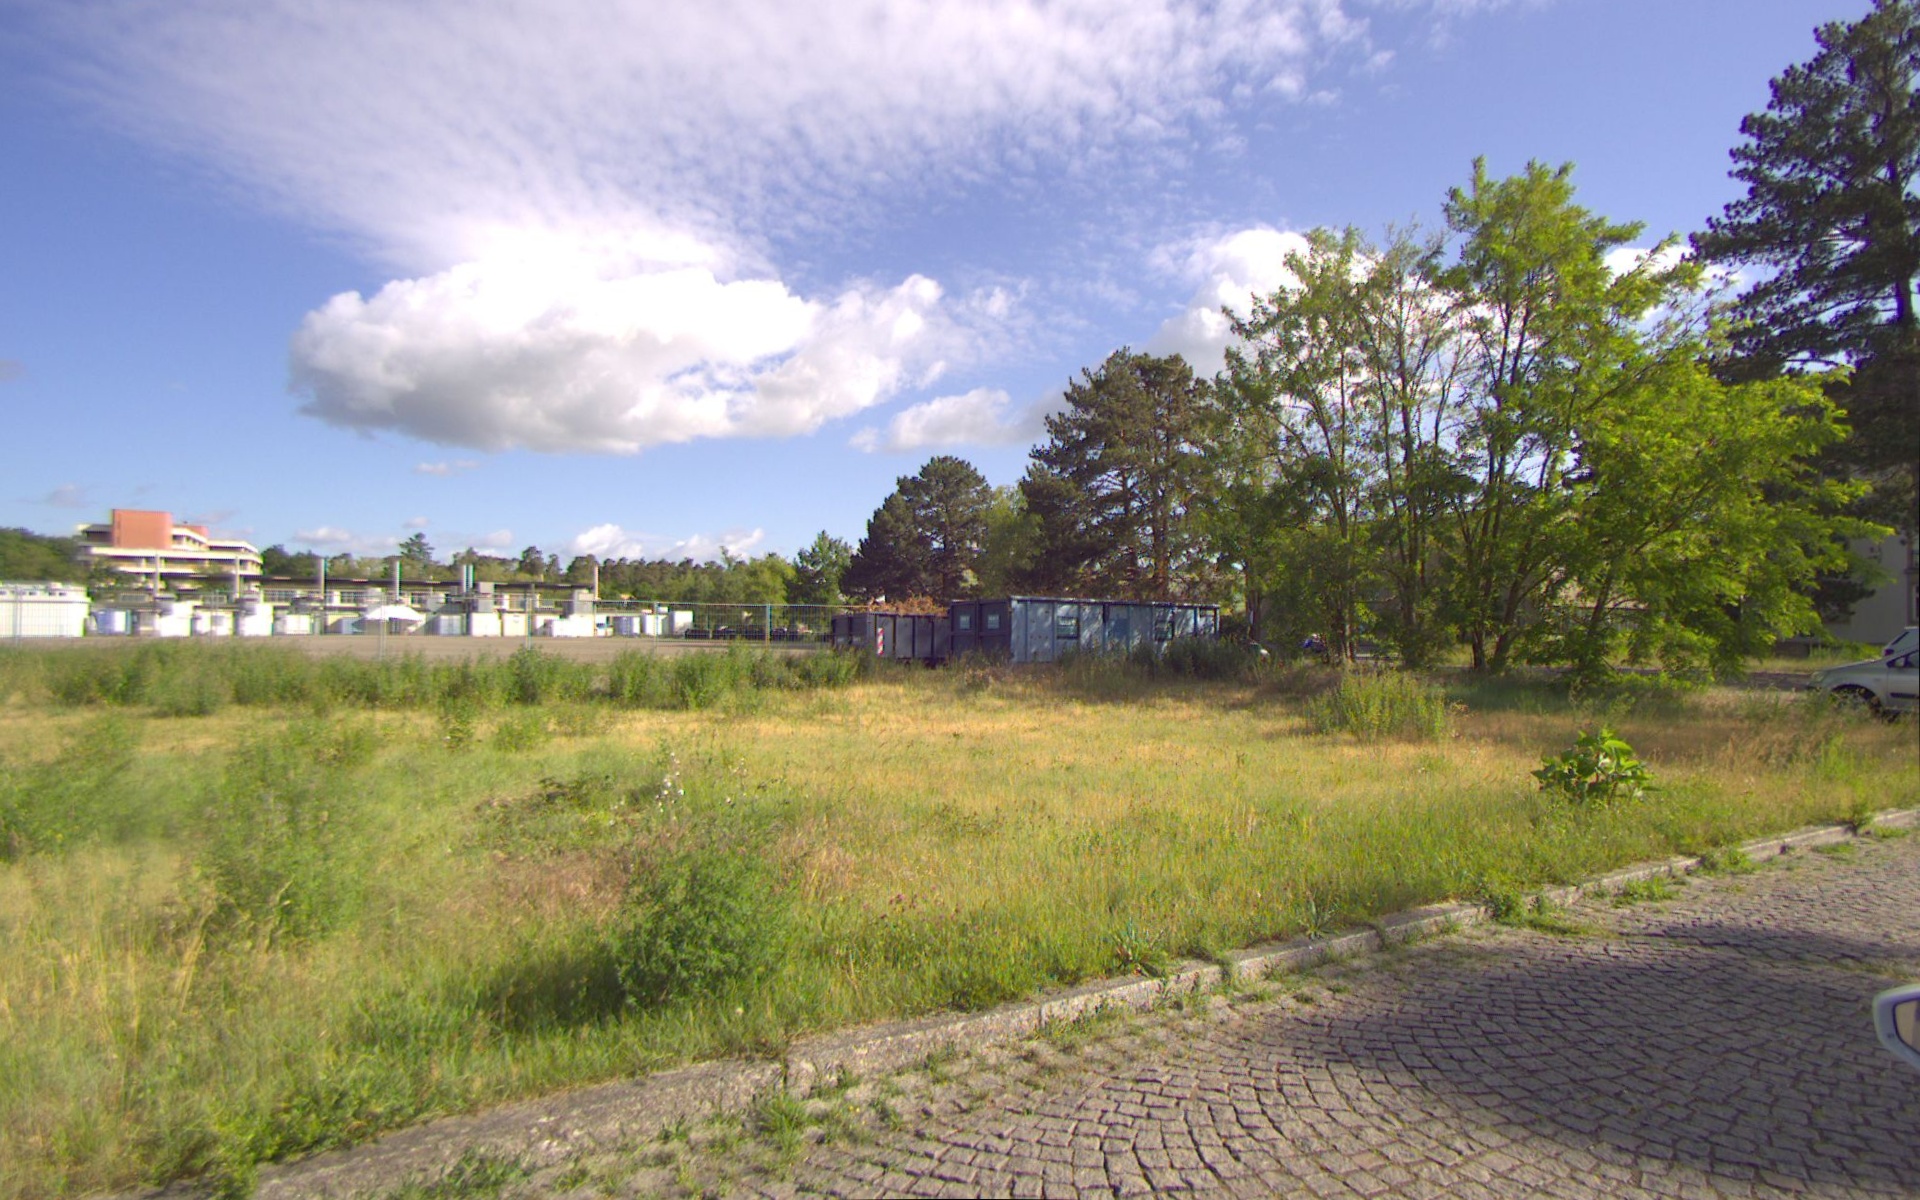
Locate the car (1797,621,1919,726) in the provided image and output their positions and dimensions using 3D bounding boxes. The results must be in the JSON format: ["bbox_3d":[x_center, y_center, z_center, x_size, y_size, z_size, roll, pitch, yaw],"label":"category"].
[{"bbox_3d":[15.230,1.150,15.116,1.628,1.507,3.724,1,1,-33],"label":"car"}]

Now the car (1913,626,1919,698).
[{"bbox_3d":[21.769,1.350,19.581,1.811,1.488,4.308,1,1,-33],"label":"car"}]

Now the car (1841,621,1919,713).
[{"bbox_3d":[17.400,1.177,16.569,1.784,1.500,3.963,1,1,-33],"label":"car"}]

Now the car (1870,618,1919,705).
[{"bbox_3d":[19.695,1.217,18.453,1.865,1.614,4.056,1,1,-33],"label":"car"}]

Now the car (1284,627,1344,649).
[{"bbox_3d":[24.960,2.666,70.864,3.953,1.452,1.893,2,-2,-30],"label":"car"}]
